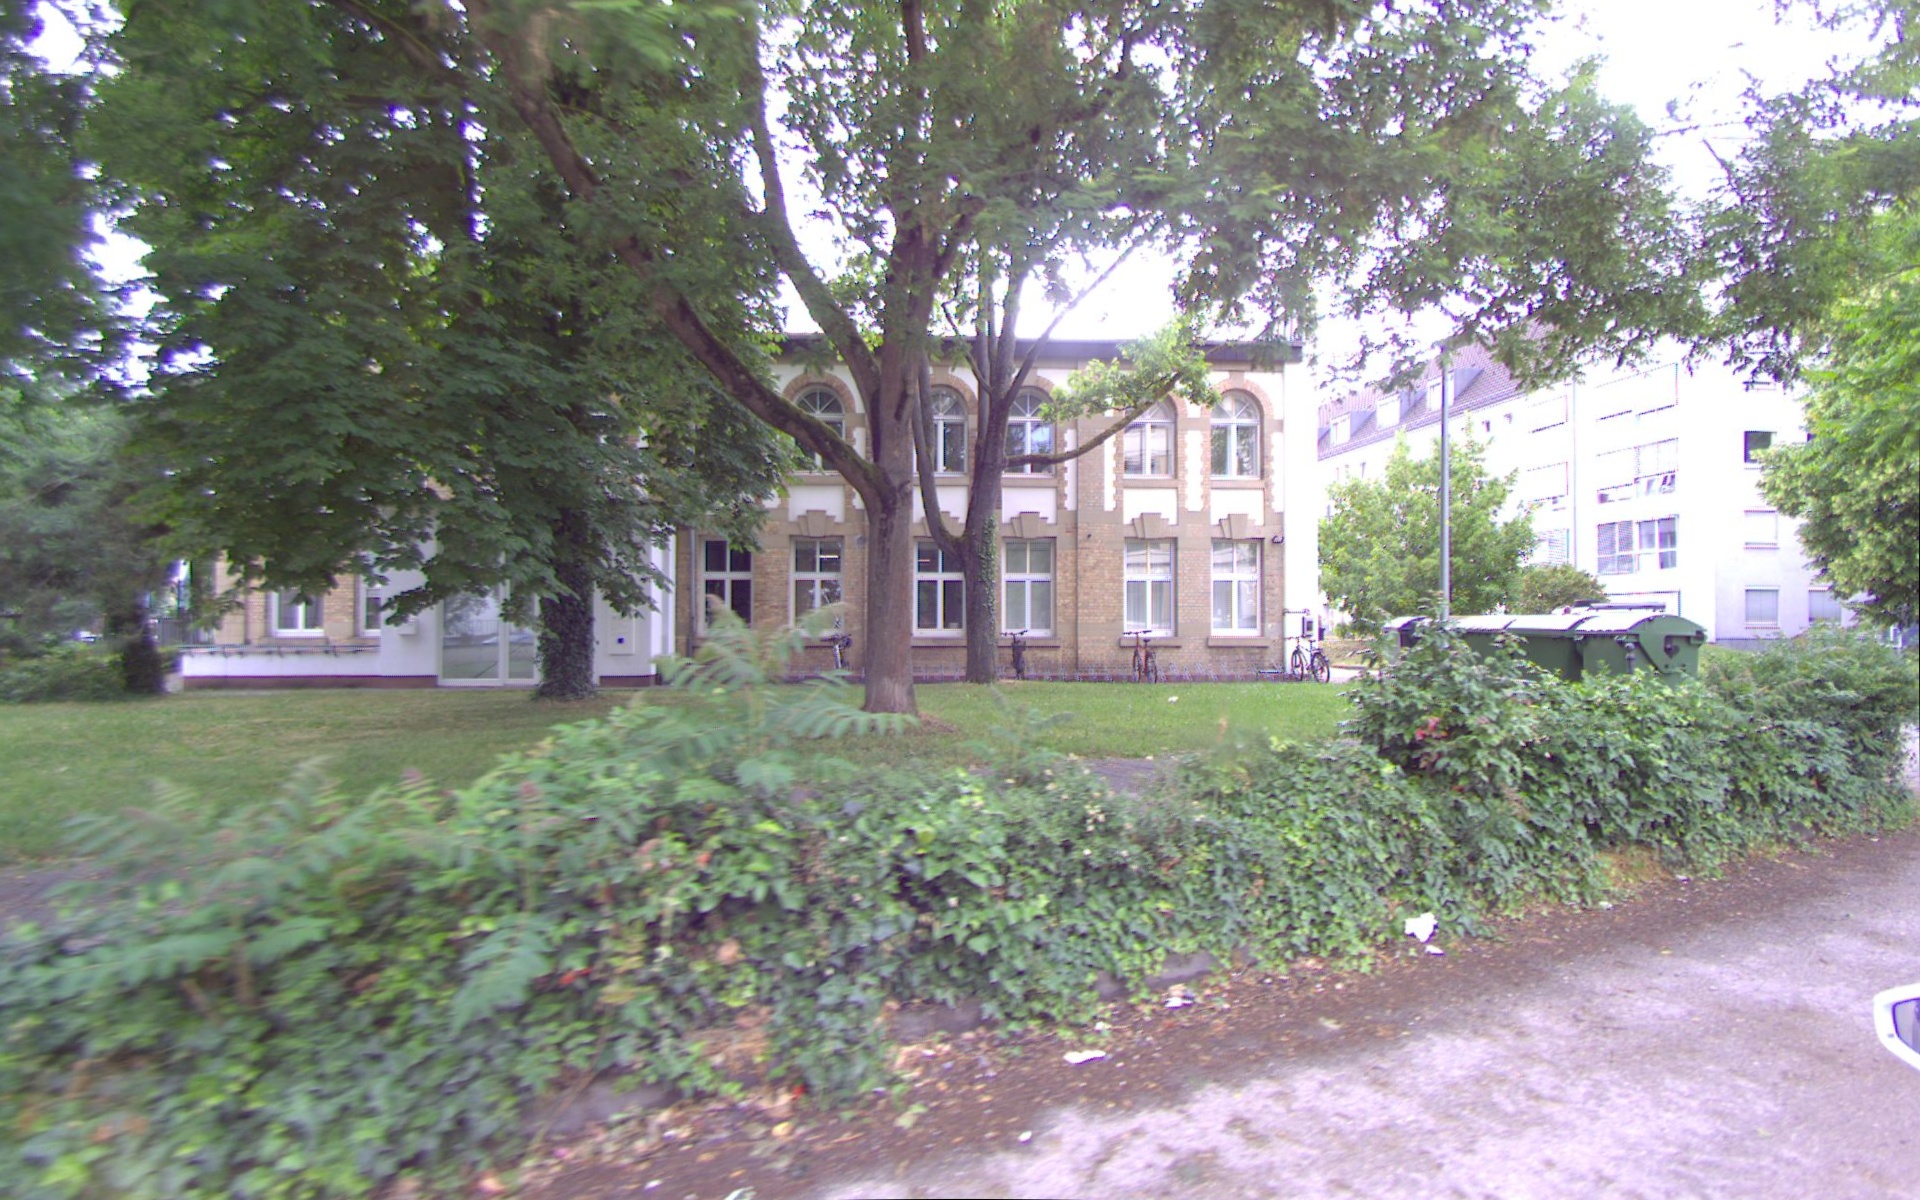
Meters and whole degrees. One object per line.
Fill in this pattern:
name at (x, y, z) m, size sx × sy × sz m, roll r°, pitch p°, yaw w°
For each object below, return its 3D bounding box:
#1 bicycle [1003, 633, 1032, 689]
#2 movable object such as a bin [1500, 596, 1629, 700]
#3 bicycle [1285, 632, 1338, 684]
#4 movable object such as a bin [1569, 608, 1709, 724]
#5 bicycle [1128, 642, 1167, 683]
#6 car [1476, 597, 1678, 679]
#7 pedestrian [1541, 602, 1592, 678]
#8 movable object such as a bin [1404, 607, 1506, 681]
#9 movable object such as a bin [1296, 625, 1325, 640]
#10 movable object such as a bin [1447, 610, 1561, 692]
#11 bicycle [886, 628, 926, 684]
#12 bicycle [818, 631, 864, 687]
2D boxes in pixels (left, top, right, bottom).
bicycle at (1.250, 1.307, 21.889) m, size 0.606 × 1.134 × 2.222 m, roll 0°, pitch -1°, yaw 3°
movable object such as a bin at (8.998, 0.701, 15.018) m, size 1.036 × 1.475 × 1.352 m, roll 1°, pitch -2°, yaw -9°
bicycle at (7.803, 1.263, 22.345) m, size 0.388 × 1.079 × 1.827 m, roll 0°, pitch -1°, yaw -5°
movable object such as a bin at (9.114, 0.850, 13.556) m, size 1.034 × 1.469 × 1.355 m, roll 0°, pitch 1°, yaw 5°
bicycle at (4.098, 1.363, 22.053) m, size 0.606 × 0.824 × 1.945 m, roll 0°, pitch -1°, yaw 3°
car at (16.058, 1.007, 26.245) m, size 4.271 × 2.040 × 1.852 m, roll 1°, pitch -2°, yaw -8°
pedestrian at (14.823, 0.972, 24.576) m, size 0.742 × 1.832 × 0.698 m, roll 0°, pitch -3°, yaw -7°
movable object such as a bin at (8.838, 0.768, 17.995) m, size 1.037 × 1.281 × 1.351 m, roll 0°, pitch -1°, yaw -12°
movable object such as a bin at (15.543, 1.463, 44.560) m, size 0.949 × 0.645 × 0.911 m, roll 0°, pitch -2°, yaw -2°
movable object such as a bin at (8.907, 0.811, 16.508) m, size 1.036 × 1.281 × 1.352 m, roll 0°, pitch -1°, yaw -9°
bicycle at (-1.142, 1.176, 21.574) m, size 0.606 × 1.134 × 2.222 m, roll 0°, pitch -1°, yaw 3°
bicycle at (-2.563, 1.251, 21.814) m, size 0.606 × 1.134 × 2.222 m, roll 0°, pitch -1°, yaw 3°
